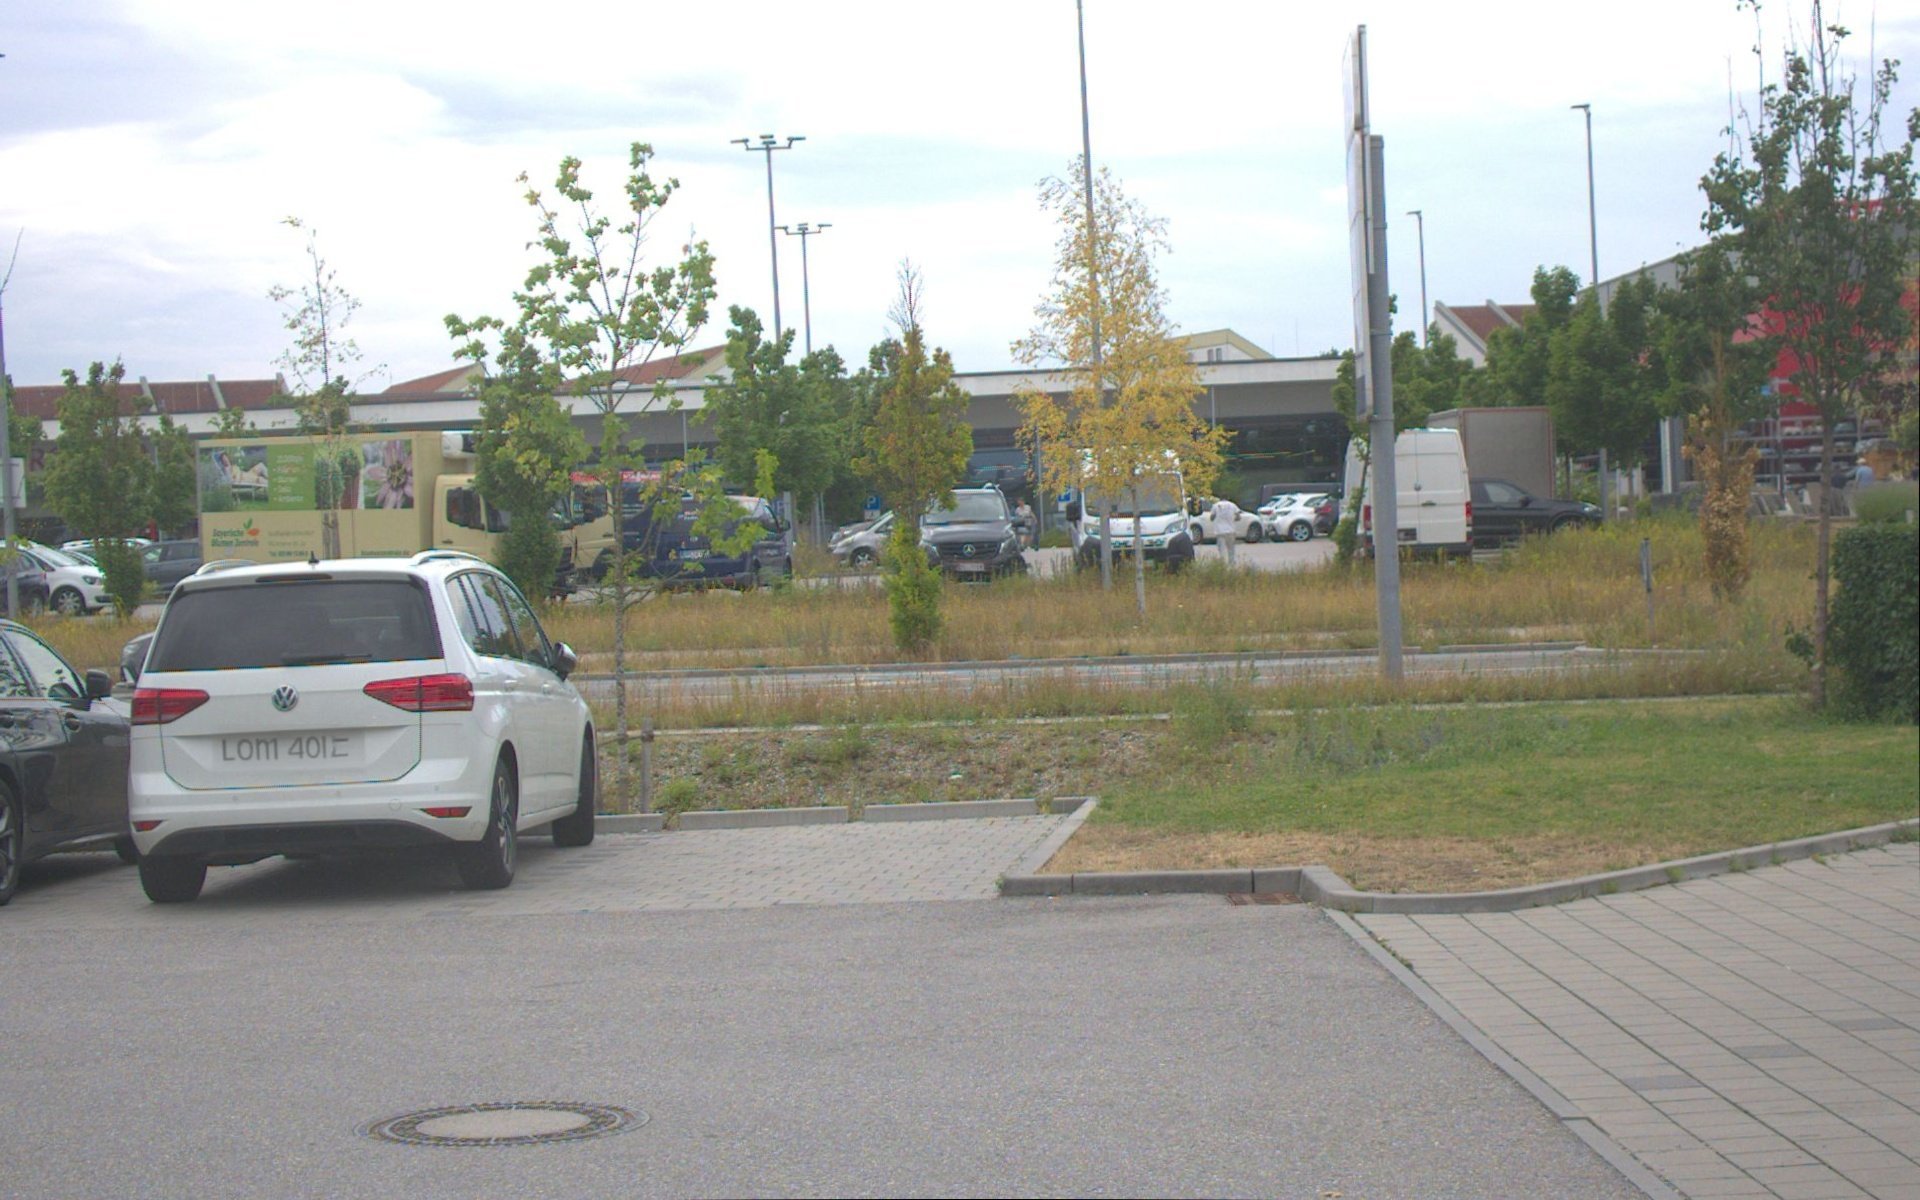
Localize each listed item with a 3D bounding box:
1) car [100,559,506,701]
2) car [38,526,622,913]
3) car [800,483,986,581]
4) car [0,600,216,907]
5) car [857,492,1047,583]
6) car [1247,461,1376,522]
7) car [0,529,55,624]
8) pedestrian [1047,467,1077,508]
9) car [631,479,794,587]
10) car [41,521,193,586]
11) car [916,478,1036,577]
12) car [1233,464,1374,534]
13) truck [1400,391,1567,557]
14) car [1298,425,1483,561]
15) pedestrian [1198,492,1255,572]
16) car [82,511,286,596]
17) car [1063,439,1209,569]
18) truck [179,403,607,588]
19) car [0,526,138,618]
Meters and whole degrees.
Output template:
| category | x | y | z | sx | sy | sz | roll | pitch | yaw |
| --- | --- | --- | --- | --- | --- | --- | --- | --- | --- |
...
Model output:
| category | x | y | z | sx | sy | sz | roll | pitch | yaw |
| --- | --- | --- | --- | --- | --- | --- | --- | --- | --- |
| car | -8.491 | 0.373 | 44.693 | 4.839 | 1.546 | 1.802 | -2 | 3 | 2 |
| car | -3.093 | 0.560 | 17.860 | 1.986 | 1.707 | 4.372 | -2 | 0 | 3 |
| car | -1.549 | -1.572 | 78.605 | 3.986 | 2.006 | 2.001 | -3 | 3 | -6 |
| car | -5.475 | 0.772 | 17.984 | 1.941 | 1.461 | 4.516 | -2 | 0 | 3 |
| car | -0.159 | -1.370 | 74.314 | 3.987 | 1.732 | 1.891 | -3 | 3 | 1 |
| car | 11.204 | -3.461 | 109.799 | 3.987 | 1.730 | 1.934 | -2 | 3 | 4 |
| car | -19.524 | -0.384 | 66.634 | 1.926 | 1.765 | 4.319 | -2 | 3 | 14 |
| pedestrian | 3.654 | -4.021 | 122.928 | 0.651 | 1.424 | 0.798 | -4 | 3 | -36 |
| car | -4.564 | -1.256 | 64.271 | 2.071 | 1.878 | 5.069 | -2 | 1 | 7 |
| car | -26.547 | -1.482 | 108.375 | 4.173 | 1.831 | 2.000 | -2 | 3 | 4 |
| car | 0.323 | -1.368 | 63.164 | 2.071 | 1.633 | 5.071 | -2 | 3 | 1 |
| car | 10.105 | -2.987 | 101.277 | 3.987 | 1.831 | 2.000 | -2 | 3 | 4 |
| truck | 12.672 | -3.126 | 83.858 | 2.648 | 3.730 | 8.257 | -3 | 3 | 0 |
| car | 7.806 | -2.018 | 62.974 | 2.338 | 2.259 | 6.507 | -3 | 3 | -1 |
| pedestrian | 4.937 | -1.262 | 63.769 | 0.975 | 1.424 | 0.787 | -2 | 3 | 3 |
| car | -18.395 | -1.121 | 81.620 | 4.307 | 1.765 | 2.000 | -3 | 3 | 1 |
| car | 3.181 | -1.832 | 63.459 | 2.408 | 2.206 | 6.060 | -2 | 3 | 1 |
| truck | -10.843 | -1.938 | 65.202 | 8.423 | 3.185 | 3.023 | 0 | 3 | 39 |
| car | -19.622 | -0.570 | 72.301 | 3.990 | 1.765 | 1.999 | -2 | 3 | 17 |
